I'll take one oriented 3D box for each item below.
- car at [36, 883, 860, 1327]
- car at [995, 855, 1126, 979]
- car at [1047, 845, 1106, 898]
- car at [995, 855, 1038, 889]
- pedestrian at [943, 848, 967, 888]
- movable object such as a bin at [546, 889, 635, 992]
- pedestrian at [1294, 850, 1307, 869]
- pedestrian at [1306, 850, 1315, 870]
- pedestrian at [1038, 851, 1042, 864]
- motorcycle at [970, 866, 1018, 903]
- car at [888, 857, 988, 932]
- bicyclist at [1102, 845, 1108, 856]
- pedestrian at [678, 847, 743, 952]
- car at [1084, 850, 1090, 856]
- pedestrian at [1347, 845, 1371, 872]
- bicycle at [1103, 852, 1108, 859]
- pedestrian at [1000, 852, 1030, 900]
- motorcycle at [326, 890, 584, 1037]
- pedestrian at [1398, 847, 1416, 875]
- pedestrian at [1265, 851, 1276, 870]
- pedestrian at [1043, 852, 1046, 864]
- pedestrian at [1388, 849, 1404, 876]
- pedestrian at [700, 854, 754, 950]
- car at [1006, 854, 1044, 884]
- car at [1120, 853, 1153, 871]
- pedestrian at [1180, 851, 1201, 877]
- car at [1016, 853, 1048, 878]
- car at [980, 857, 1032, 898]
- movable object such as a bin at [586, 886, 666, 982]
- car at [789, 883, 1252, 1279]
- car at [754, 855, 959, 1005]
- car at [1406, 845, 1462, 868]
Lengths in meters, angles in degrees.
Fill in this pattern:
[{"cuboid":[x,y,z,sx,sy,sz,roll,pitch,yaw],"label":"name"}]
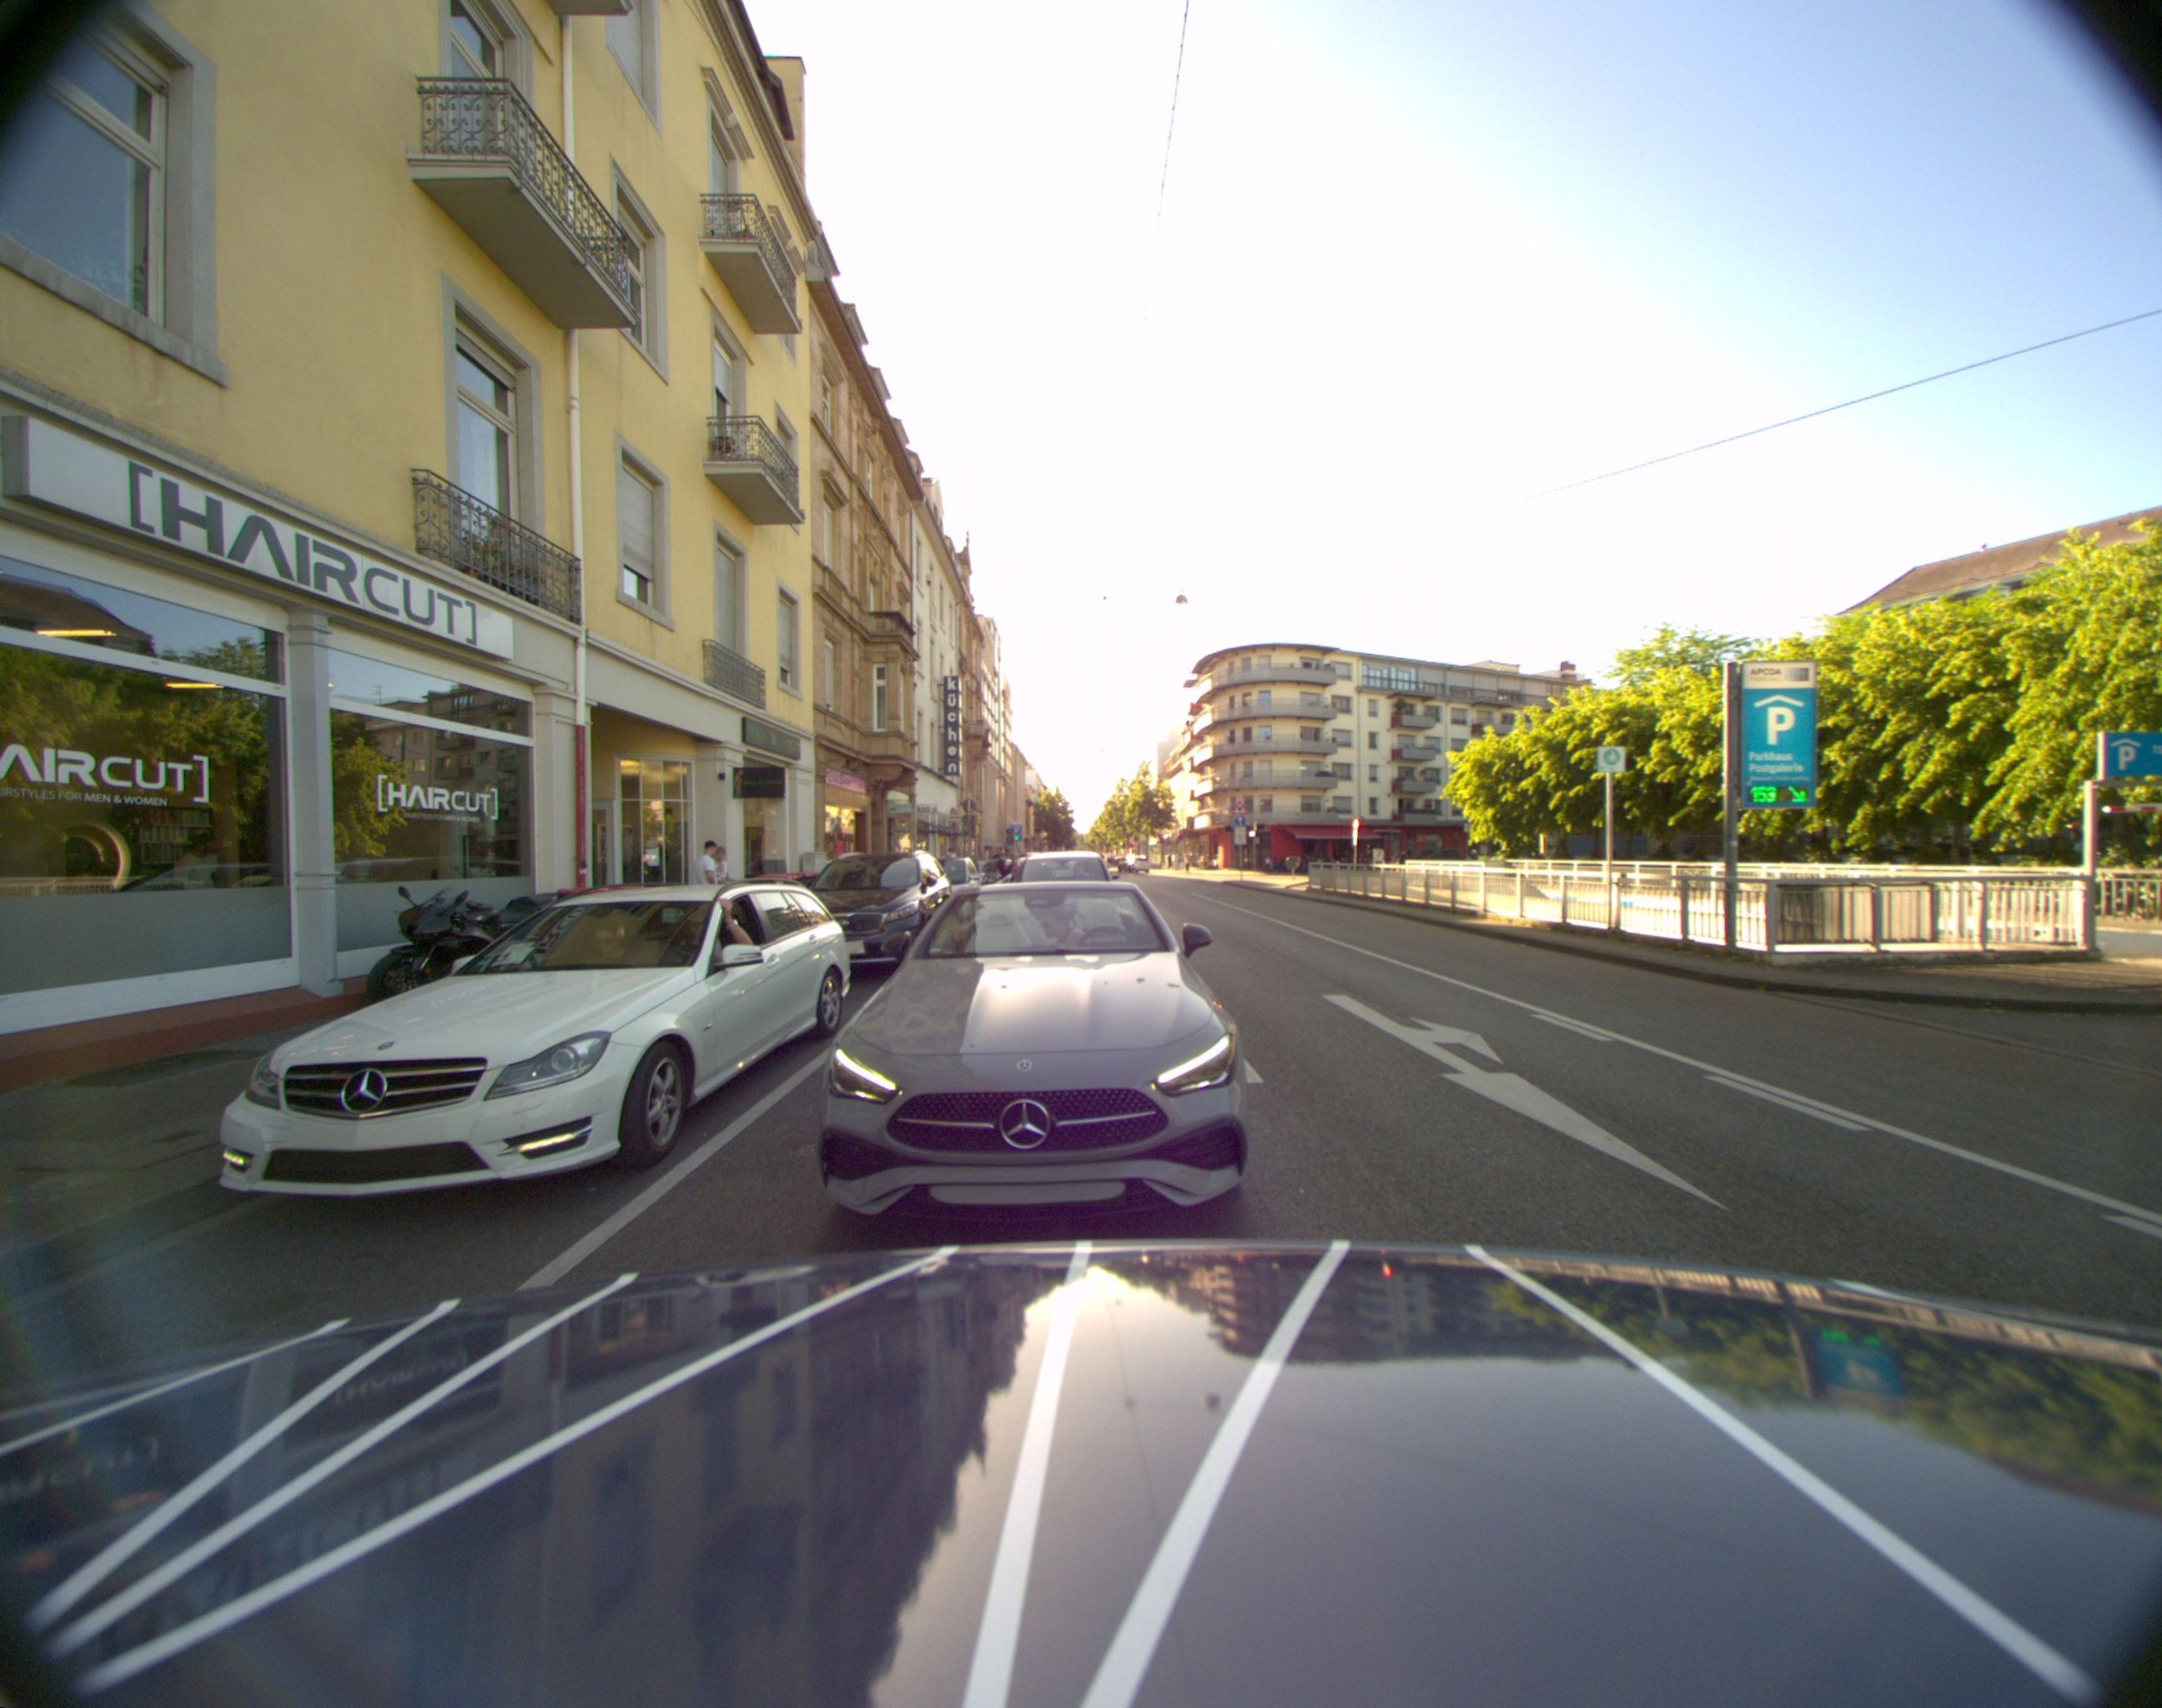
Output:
[{"cuboid":[-3.065,1.042,5.188,1.759,1.453,4.597,-1,0,0],"label":"car"},{"cuboid":[-0.244,0.848,12.173,1.716,1.599,4.000,-1,0,1],"label":"car"},{"cuboid":[-0.130,0.585,27.478,1.952,1.742,4.000,-1,0,1],"label":"car"},{"cuboid":[-3.043,0.810,36.477,1.715,1.477,3.999,-1,0,0],"label":"car"},{"cuboid":[-5.122,0.557,30.890,0.795,1.607,0.763,-1,1,-1],"label":"pedestrian"},{"cuboid":[-6.101,1.060,9.484,0.647,1.200,0.644,-1,1,1],"label":"movable object such as a bin"},{"cuboid":[17.698,0.441,61.150,0.583,1.453,0.790,-2,1,-37],"label":"pedestrian"},{"cuboid":[17.958,0.464,59.495,0.581,1.481,0.793,-1,1,13],"label":"pedestrian"},{"cuboid":[-6.028,0.492,111.290,0.527,1.875,0.569,-2,1,0],"label":"pedestrian"},{"cuboid":[-3.050,1.045,26.784,0.769,1.225,1.546,-1,1,42],"label":"motorcycle"},{"cuboid":[-3.275,0.892,17.938,1.696,1.559,3.018,-1,0,1],"label":"car"},{"cuboid":[3.645,-0.575,115.154,0.758,1.651,1.143,-2,1,0],"label":"bicyclist"},{"cuboid":[-5.847,0.701,12.021,0.642,1.607,0.701,-1,1,-1],"label":"pedestrian"},{"cuboid":[1.914,-0.416,247.291,1.998,1.805,4.000,-1,0,1],"label":"car"},{"cuboid":[21.653,0.349,59.207,1.234,2.002,1.259,-2,1,-21],"label":"pedestrian"},{"cuboid":[3.648,0.186,115.254,0.661,1.083,1.970,-2,0,0],"label":"bicycle"},{"cuboid":[-2.357,0.770,27.162,0.692,1.657,0.836,-1,1,24],"label":"pedestrian"},{"cuboid":[-6.254,1.020,7.822,0.773,1.158,2.247,1,0,1],"label":"motorcycle"},{"cuboid":[21.295,0.433,49.622,0.755,1.795,0.756,-2,1,-15],"label":"pedestrian"},{"cuboid":[15.061,0.502,60.267,0.791,1.452,0.583,-1,1,10],"label":"pedestrian"},{"cuboid":[-5.343,0.528,111.148,0.467,1.769,0.568,-2,1,-4],"label":"pedestrian"},{"cuboid":[20.519,0.547,49.507,0.674,1.696,0.699,-2,1,-7],"label":"pedestrian"},{"cuboid":[-6.107,0.809,13.144,0.572,1.607,0.643,-1,1,2],"label":"pedestrian"},{"cuboid":[-2.975,0.761,40.995,1.715,1.477,3.999,-1,0,0],"label":"car"},{"cuboid":[4.644,0.644,64.272,1.803,1.426,4.247,-1,0,-9],"label":"car"},{"cuboid":[8.397,0.766,58.208,1.018,2.002,1.202,-1,1,40],"label":"pedestrian"},{"cuboid":[-3.017,0.689,47.589,1.715,1.477,4.062,-1,0,0],"label":"car"},{"cuboid":[-2.969,0.878,30.725,1.715,1.477,3.999,-1,0,0],"label":"car"},{"cuboid":[-6.051,1.051,10.136,0.647,1.200,0.644,-1,1,1],"label":"movable object such as a bin"},{"cuboid":[-0.262,1.012,5.238,1.849,1.371,4.255,-2,0,-1],"label":"car"},{"cuboid":[-3.005,0.891,11.266,1.858,1.688,4.697,-1,0,-4],"label":"car"},{"cuboid":[29.042,0.178,62.447,4.004,1.740,1.996,-2,1,-23],"label":"car"}]
